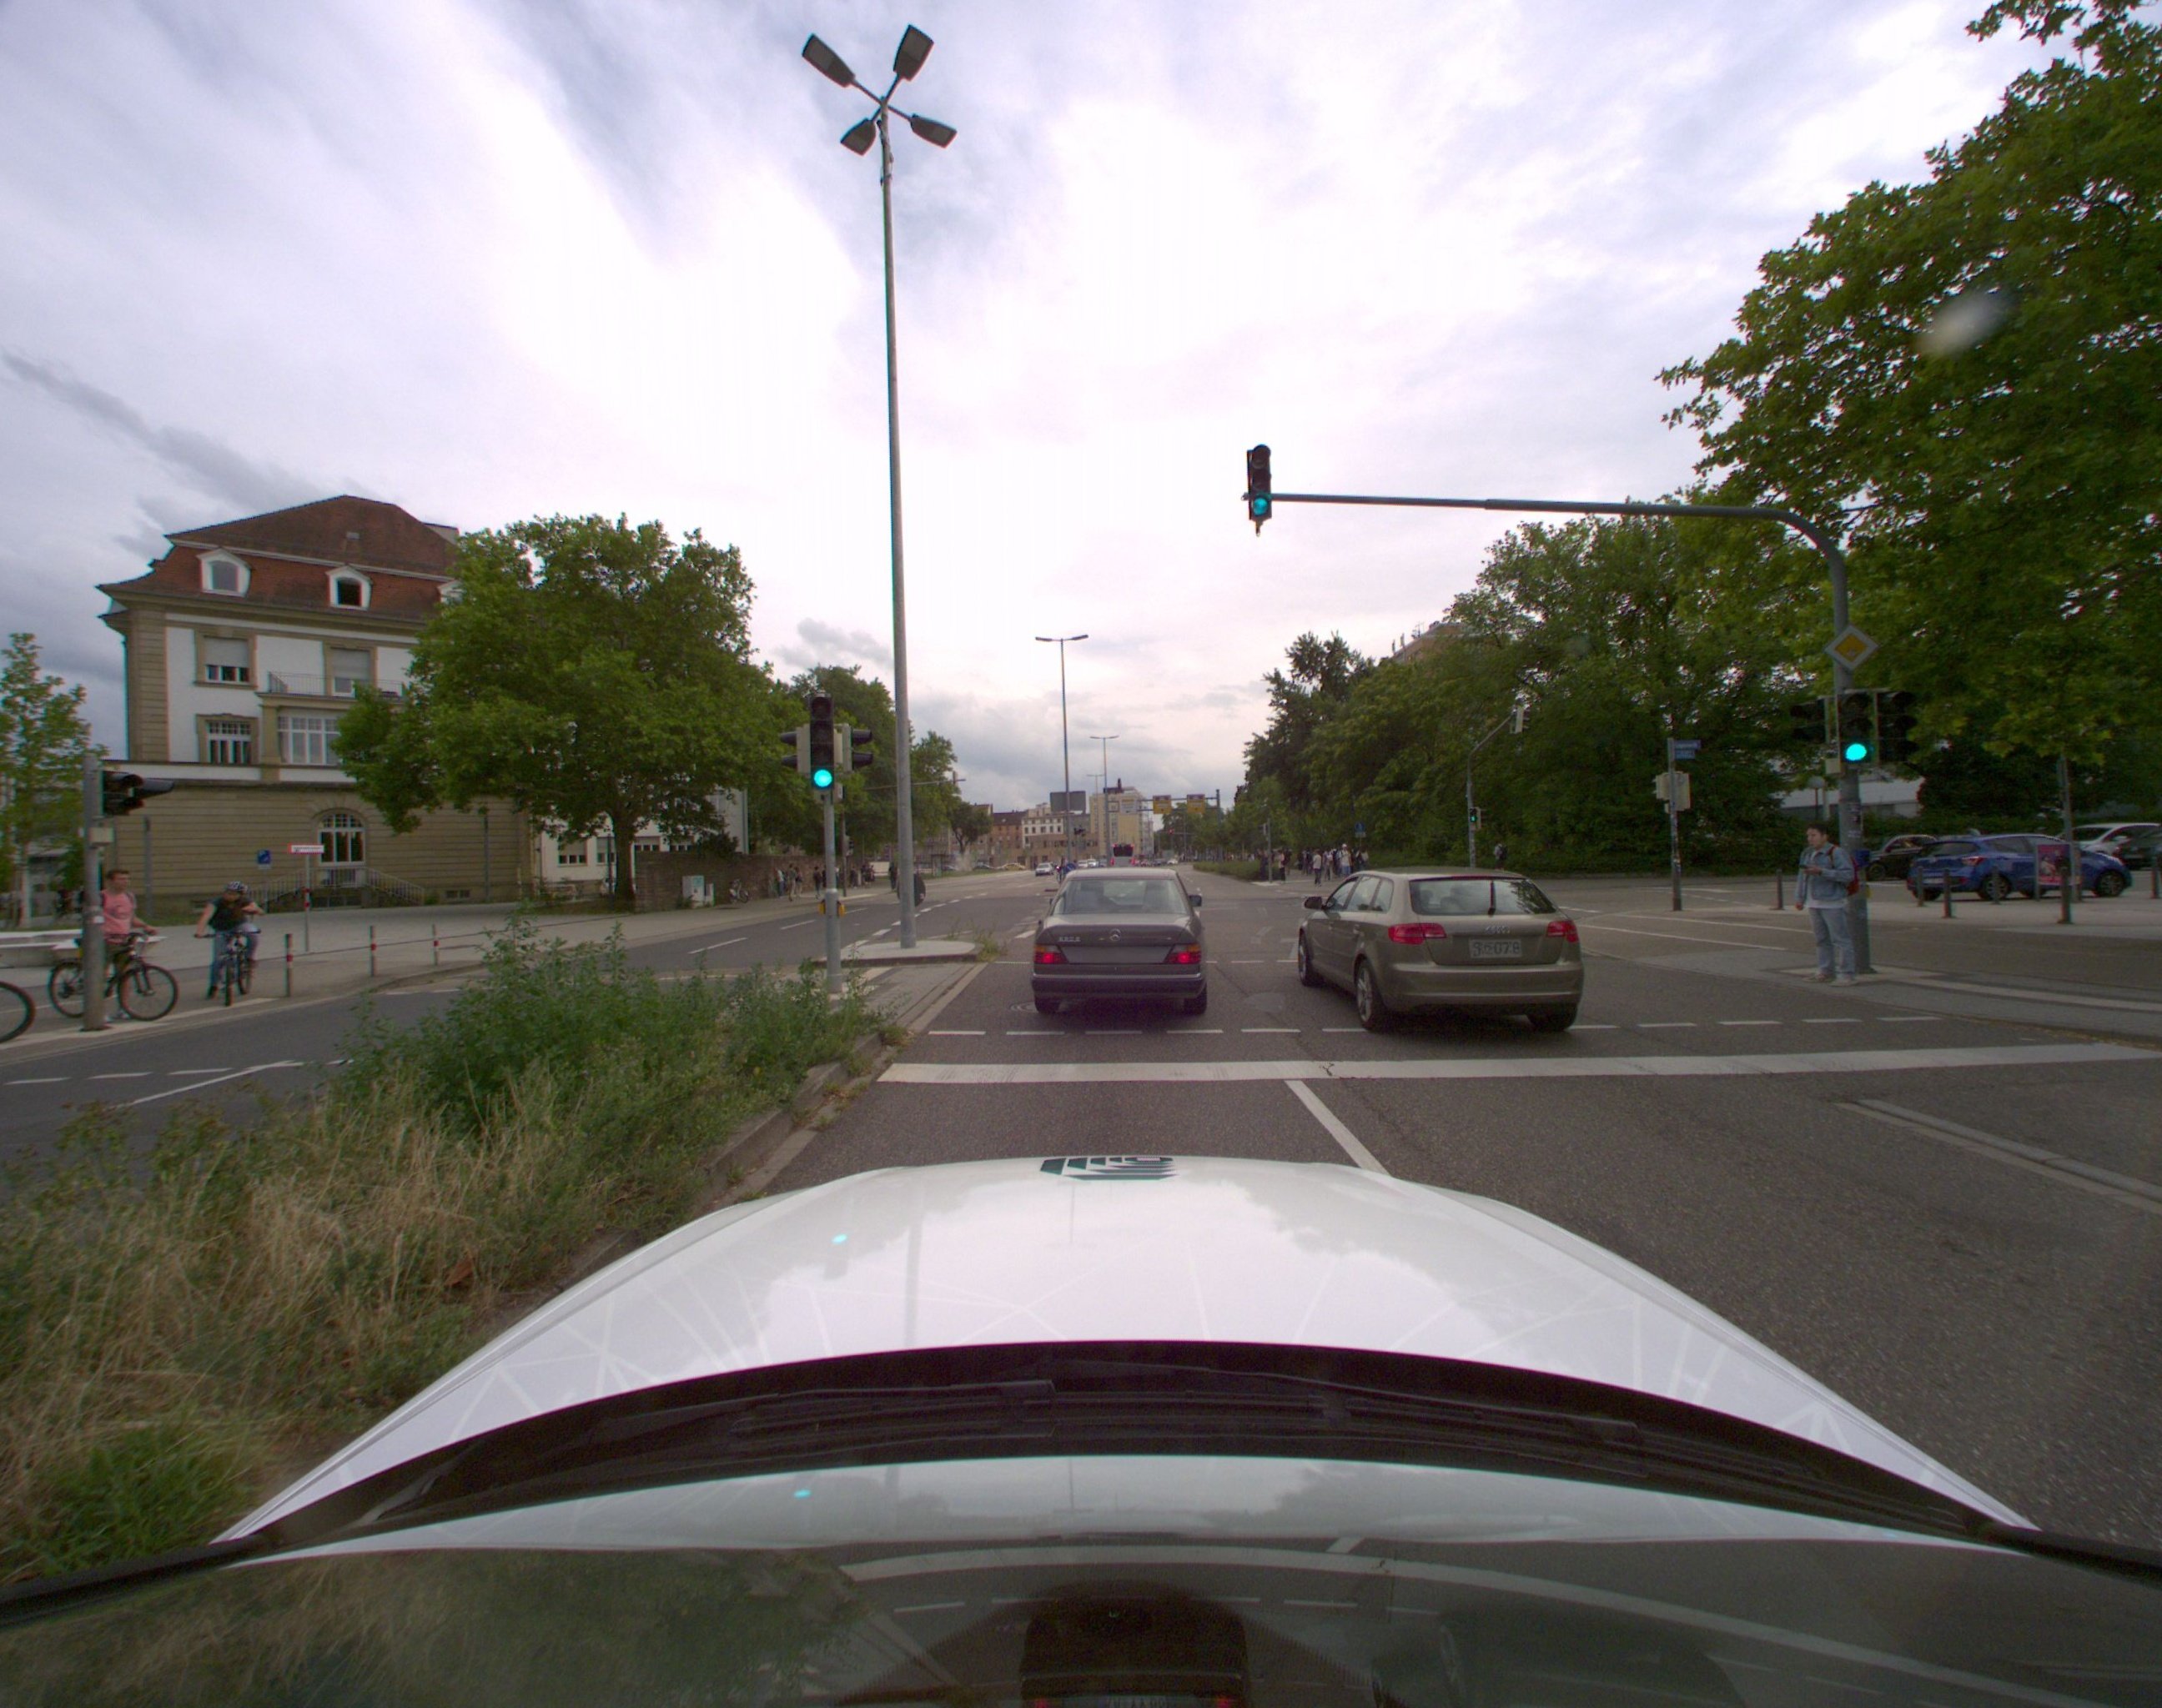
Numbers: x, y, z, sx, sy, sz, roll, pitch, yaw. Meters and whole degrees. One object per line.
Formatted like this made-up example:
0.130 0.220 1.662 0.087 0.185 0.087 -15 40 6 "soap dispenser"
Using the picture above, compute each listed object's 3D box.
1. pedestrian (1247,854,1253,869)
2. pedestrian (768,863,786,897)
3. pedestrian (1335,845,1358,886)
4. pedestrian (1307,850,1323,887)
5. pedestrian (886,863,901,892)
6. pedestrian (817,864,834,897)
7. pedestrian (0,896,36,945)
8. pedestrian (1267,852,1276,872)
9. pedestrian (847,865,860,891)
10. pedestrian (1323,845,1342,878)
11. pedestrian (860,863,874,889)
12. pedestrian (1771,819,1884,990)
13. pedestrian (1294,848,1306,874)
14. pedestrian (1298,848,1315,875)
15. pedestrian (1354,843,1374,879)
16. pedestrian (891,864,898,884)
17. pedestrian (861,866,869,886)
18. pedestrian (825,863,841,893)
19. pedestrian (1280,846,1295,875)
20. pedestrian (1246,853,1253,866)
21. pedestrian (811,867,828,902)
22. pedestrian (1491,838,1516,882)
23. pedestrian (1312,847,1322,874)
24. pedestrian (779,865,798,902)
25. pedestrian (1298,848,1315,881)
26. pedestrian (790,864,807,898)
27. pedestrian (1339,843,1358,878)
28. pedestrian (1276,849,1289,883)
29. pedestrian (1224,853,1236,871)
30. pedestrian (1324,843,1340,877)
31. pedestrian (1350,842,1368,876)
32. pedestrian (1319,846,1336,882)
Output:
19.943 0.842 96.131 0.641 1.713 0.564 -3 -1 20 "pedestrian"
-15.987 1.375 42.881 0.749 1.783 0.776 0 -3 -30 "pedestrian"
12.173 0.505 37.377 0.644 1.852 0.826 -1 -1 -9 "pedestrian"
10.846 0.670 37.782 0.543 1.687 0.637 -2 -1 2 "pedestrian"
-11.593 1.463 50.337 0.761 1.783 0.717 -1 -2 -19 "pedestrian"
-14.286 1.480 45.520 0.762 1.783 0.777 -1 -3 -24 "pedestrian"
-46.112 2.860 35.271 0.797 2.014 0.827 -1 -1 -34 "pedestrian"
16.514 0.661 70.548 0.584 1.683 0.749 -2 -1 5 "pedestrian"
-16.178 1.720 57.976 0.762 1.783 0.777 -1 -3 -24 "pedestrian"
13.770 0.397 44.564 0.654 1.766 0.958 -4 -1 3 "pedestrian"
-14.640 1.519 55.734 0.762 1.783 0.917 -1 -3 -24 "pedestrian"
8.262 0.542 9.037 0.570 1.817 0.682 -2 -1 5 "pedestrian"
13.975 0.456 51.879 0.553 1.655 0.754 -2 -1 5 "pedestrian"
13.807 0.437 49.879 0.772 1.602 0.813 -2 -1 5 "pedestrian"
14.132 0.333 40.677 0.654 1.745 0.781 -2 -1 3 "pedestrian"
-15.957 1.695 69.665 0.560 1.668 0.624 -1 -2 -12 "pedestrian"
-17.844 1.819 67.263 0.587 1.592 0.731 -1 -2 -18 "pedestrian"
-15.054 1.450 49.422 0.762 1.783 0.907 -1 -3 -24 "pedestrian"
13.360 0.430 52.729 0.689 1.821 0.955 -2 -1 5 "pedestrian"
19.161 0.665 92.540 0.654 1.470 0.562 -2 -1 1 "pedestrian"
-13.828 1.601 43.021 0.762 1.783 0.777 -1 -3 -25 "pedestrian"
17.596 0.266 33.919 0.642 1.795 0.741 -2 -1 2 "pedestrian"
15.499 0.423 53.497 0.482 1.763 0.665 -2 -1 5 "pedestrian"
-14.360 1.429 39.927 0.749 1.783 0.776 -1 -3 -28 "pedestrian"
12.009 0.547 43.383 0.654 1.745 0.781 -2 -1 3 "pedestrian"
-15.083 1.434 43.454 0.763 1.783 0.777 -1 -3 -27 "pedestrian"
13.406 0.322 40.783 0.654 1.745 0.781 -2 -1 3 "pedestrian"
10.462 0.613 42.309 0.452 1.735 0.637 -2 -1 3 "pedestrian"
15.539 0.802 84.869 0.925 1.830 0.892 -3 -1 32 "pedestrian"
13.248 0.333 42.956 0.579 1.745 0.790 -2 -1 3 "pedestrian"
14.793 0.272 43.389 0.654 1.745 0.781 -2 -1 3 "pedestrian"
12.407 0.495 41.014 0.621 1.745 0.781 -2 -1 3 "pedestrian"
